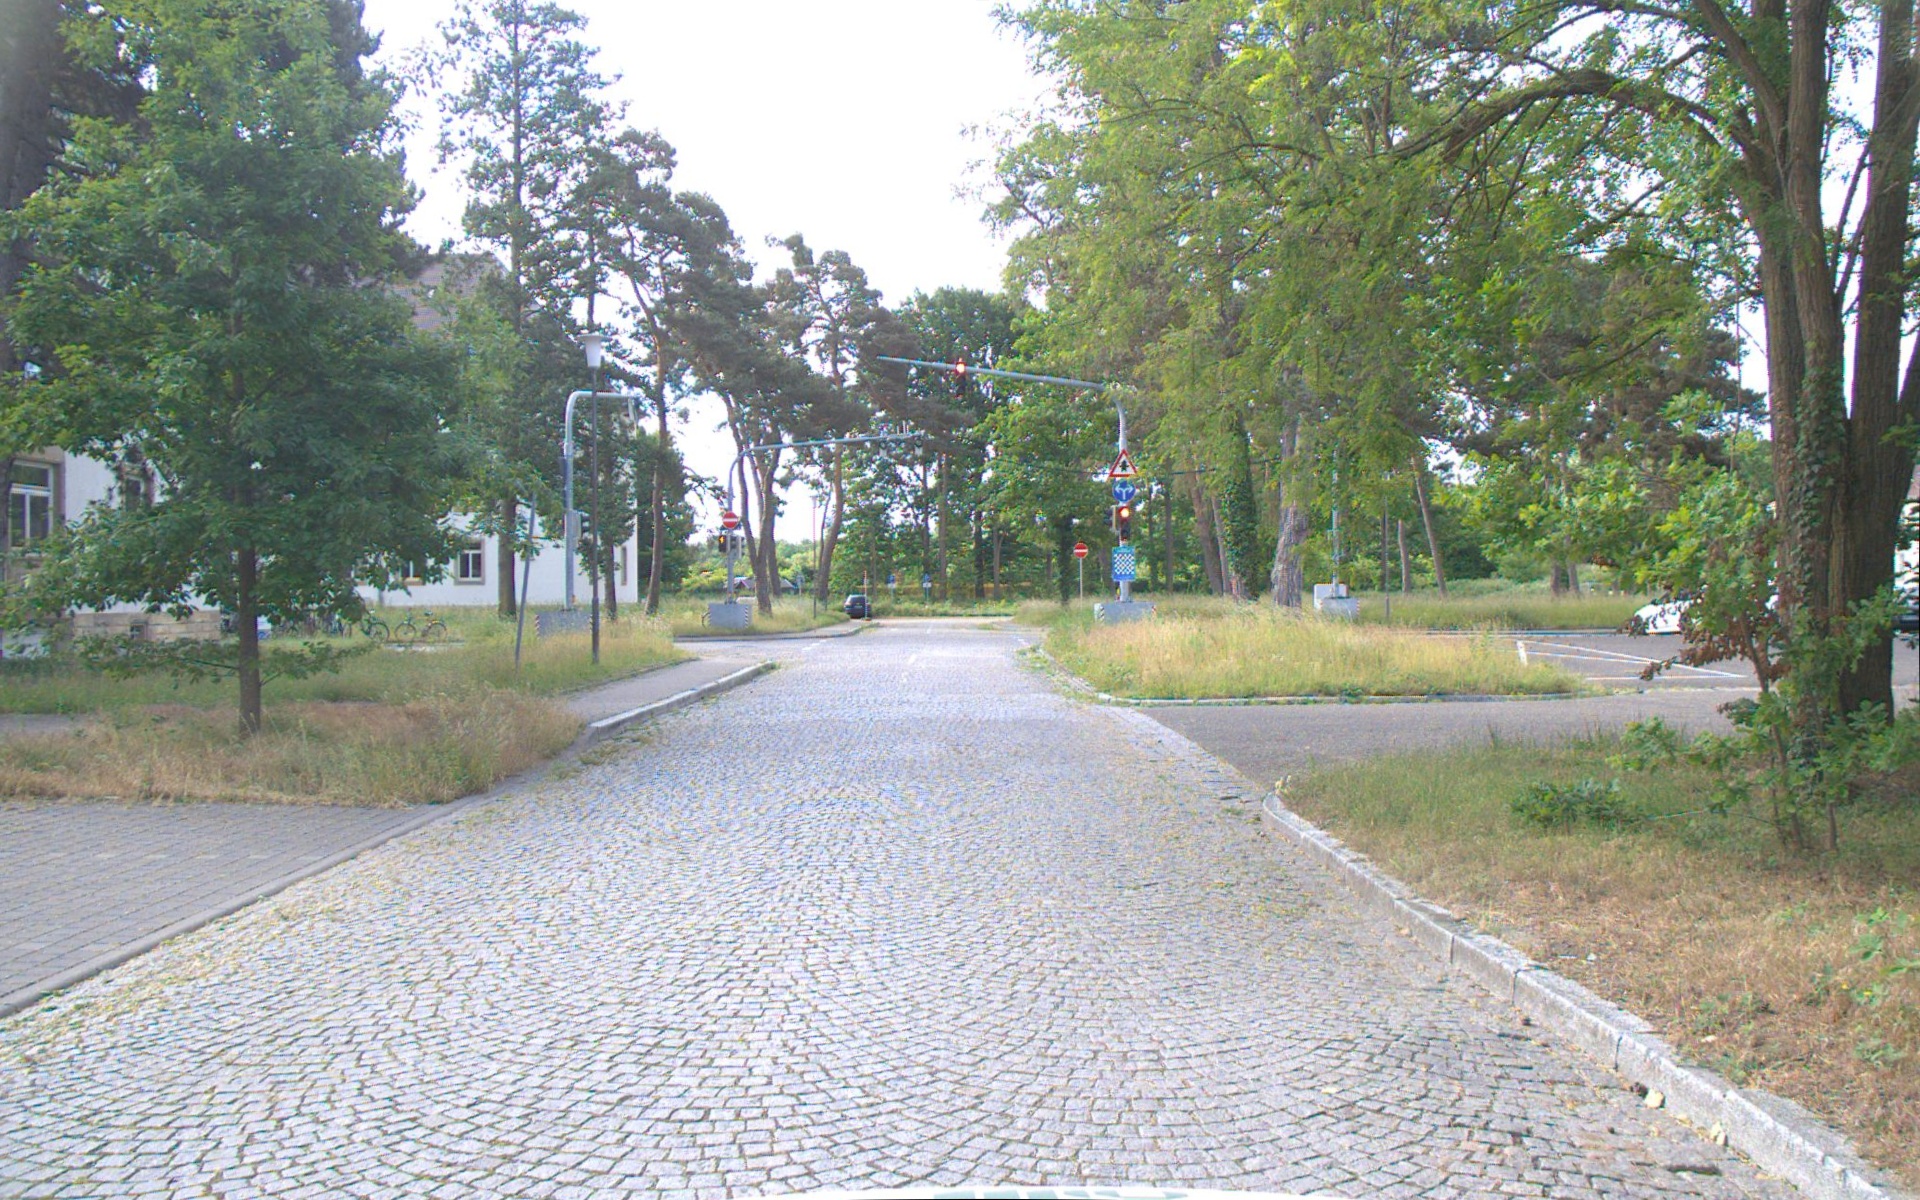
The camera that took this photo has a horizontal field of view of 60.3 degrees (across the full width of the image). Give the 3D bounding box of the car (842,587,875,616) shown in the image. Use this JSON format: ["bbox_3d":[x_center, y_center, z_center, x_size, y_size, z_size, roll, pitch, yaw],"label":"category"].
[{"bbox_3d":[-6.698,0.108,109.674,2.014,1.878,3.999,-1,0,-2],"label":"car"}]

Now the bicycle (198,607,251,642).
[{"bbox_3d":[-23.664,0.776,53.256,0.721,1.095,2.273,-1,0,0],"label":"bicycle"}]

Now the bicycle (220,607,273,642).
[{"bbox_3d":[-22.944,0.772,53.195,0.721,1.095,2.273,-1,0,0],"label":"bicycle"}]

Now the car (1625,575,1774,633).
[{"bbox_3d":[20.716,0.145,46.564,1.954,1.507,4.421,-1,-1,-4],"label":"car"}]

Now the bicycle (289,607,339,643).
[{"bbox_3d":[-20.795,0.795,53.257,0.721,1.095,2.273,-1,0,0],"label":"bicycle"}]

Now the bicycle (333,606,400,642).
[{"bbox_3d":[-18.692,0.763,52.119,1.818,1.095,0.738,-1,0,1],"label":"bicycle"}]

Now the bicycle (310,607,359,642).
[{"bbox_3d":[-20.166,0.782,53.347,0.721,1.095,2.273,-1,0,0],"label":"bicycle"}]

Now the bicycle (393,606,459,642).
[{"bbox_3d":[-16.841,0.755,52.186,1.818,1.095,0.831,-1,0,1],"label":"bicycle"}]
